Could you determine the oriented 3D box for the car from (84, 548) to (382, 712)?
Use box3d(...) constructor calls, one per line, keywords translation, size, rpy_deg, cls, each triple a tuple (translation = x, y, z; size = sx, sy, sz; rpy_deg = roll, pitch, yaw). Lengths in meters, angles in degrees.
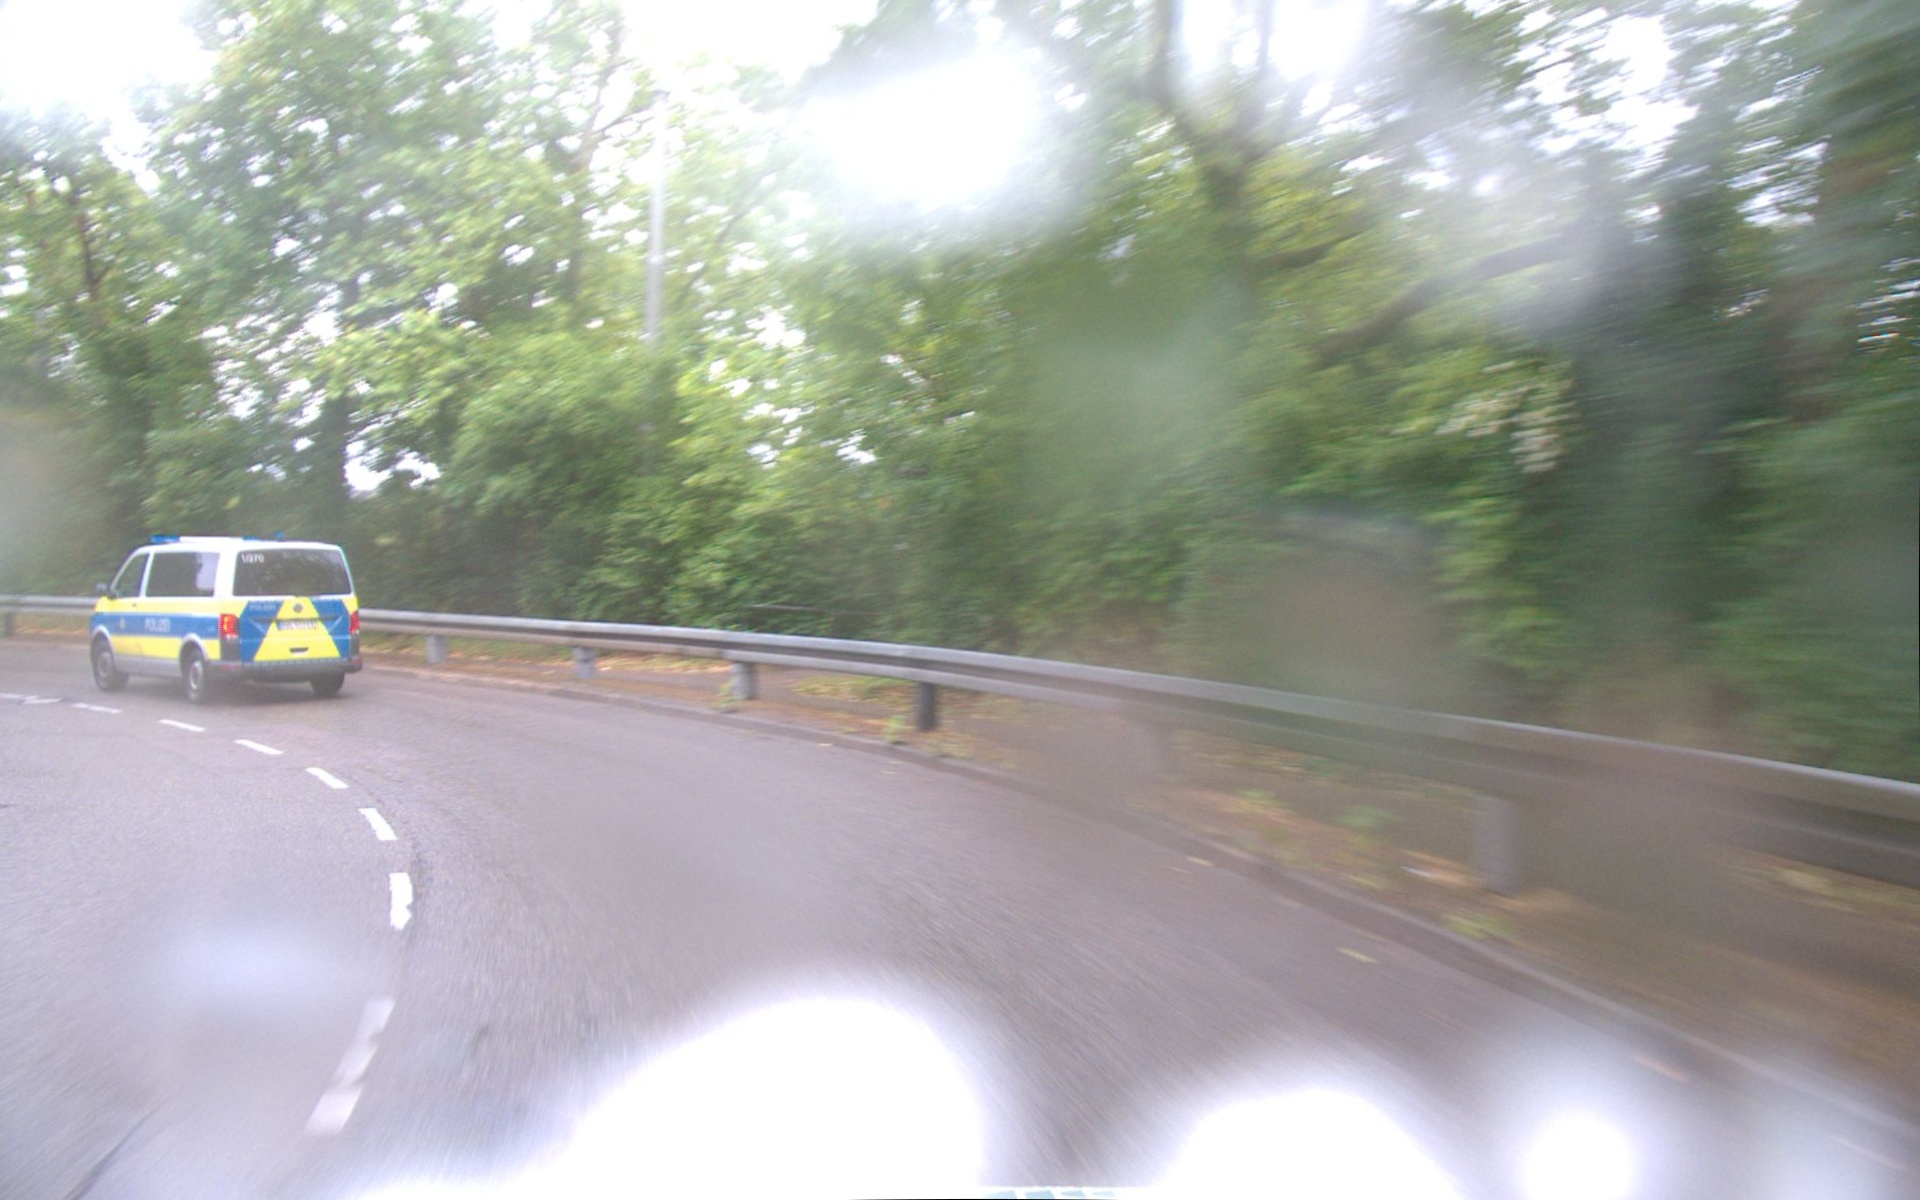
box3d(translation=(-9.633, 0.362, 21.749), size=(4.490, 1.926, 1.987), rpy_deg=(-1, 0, 43), cls="car")
